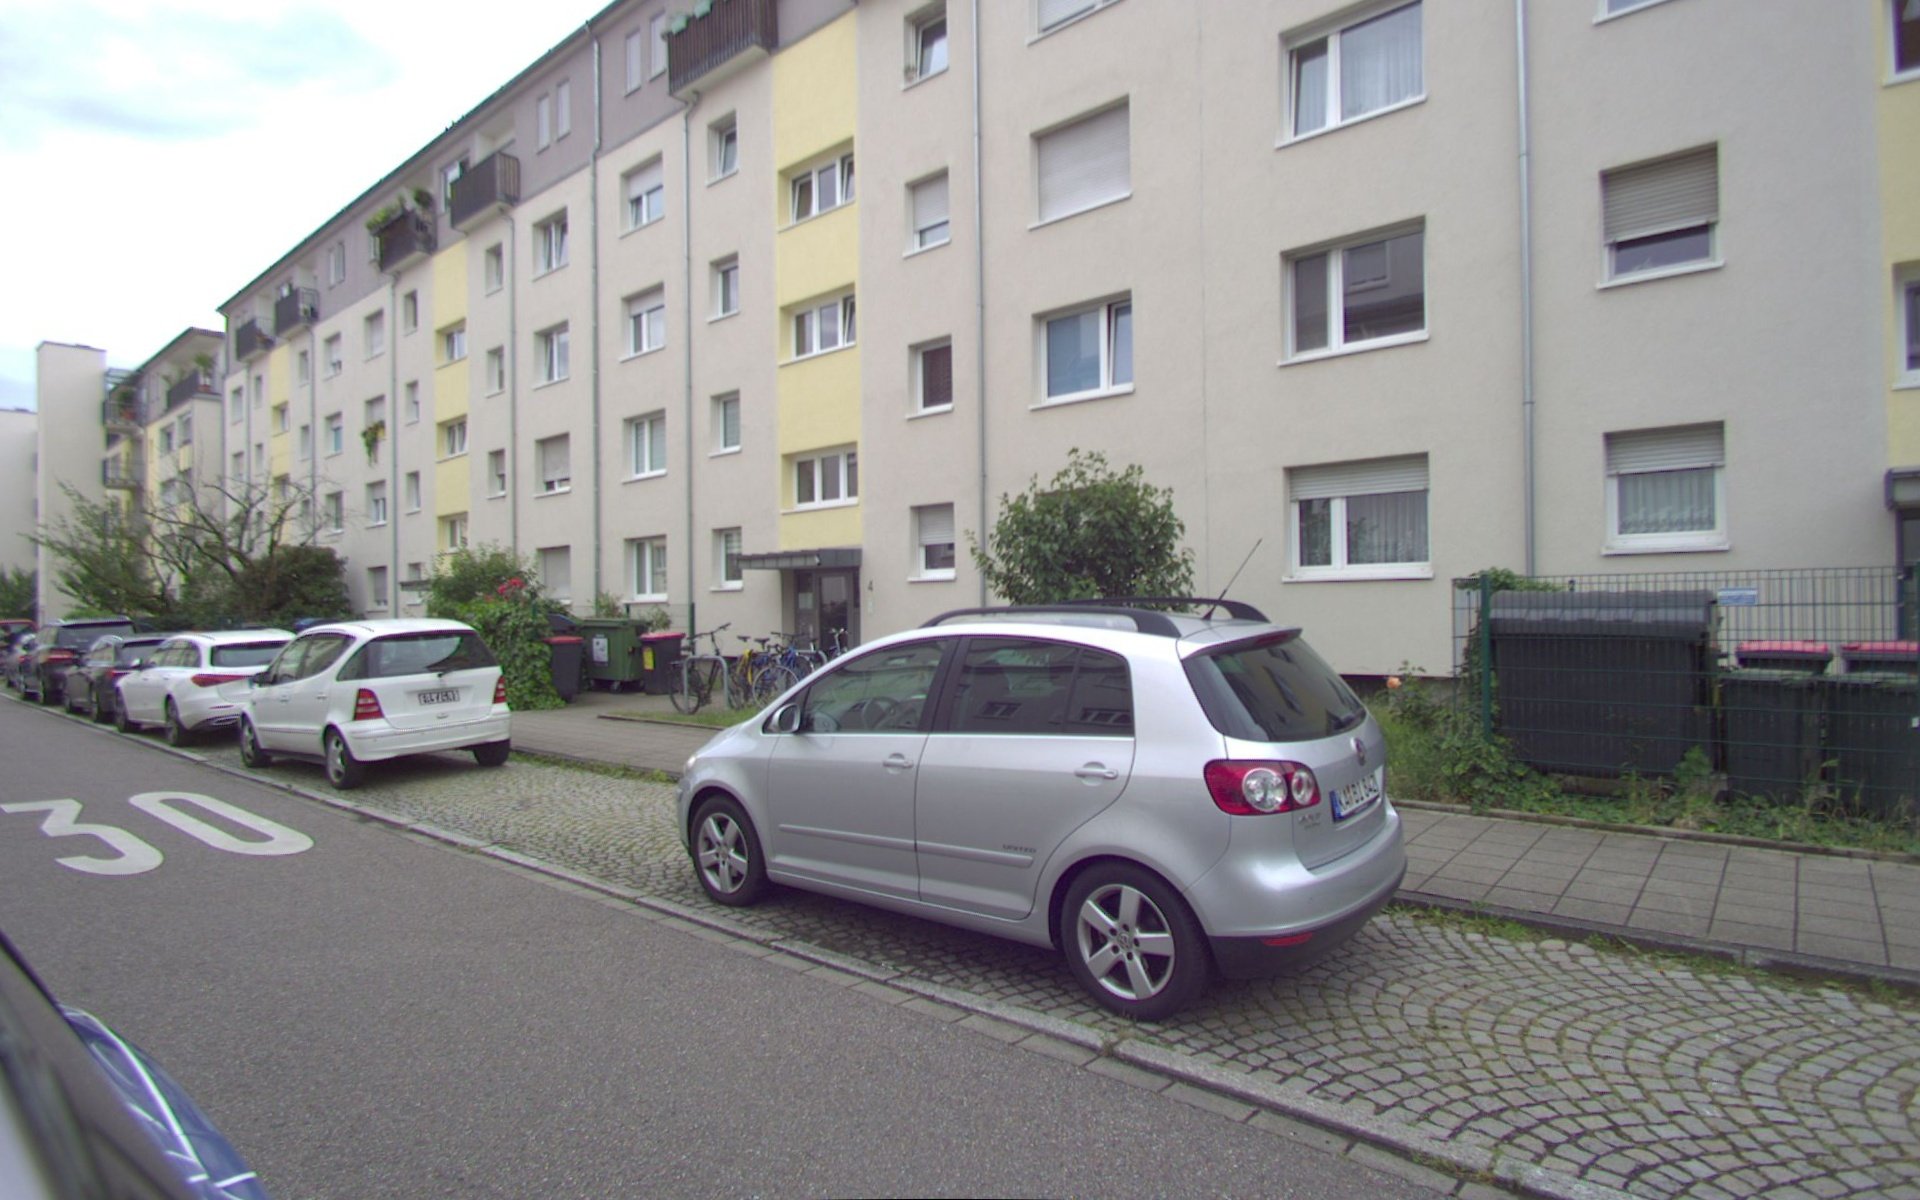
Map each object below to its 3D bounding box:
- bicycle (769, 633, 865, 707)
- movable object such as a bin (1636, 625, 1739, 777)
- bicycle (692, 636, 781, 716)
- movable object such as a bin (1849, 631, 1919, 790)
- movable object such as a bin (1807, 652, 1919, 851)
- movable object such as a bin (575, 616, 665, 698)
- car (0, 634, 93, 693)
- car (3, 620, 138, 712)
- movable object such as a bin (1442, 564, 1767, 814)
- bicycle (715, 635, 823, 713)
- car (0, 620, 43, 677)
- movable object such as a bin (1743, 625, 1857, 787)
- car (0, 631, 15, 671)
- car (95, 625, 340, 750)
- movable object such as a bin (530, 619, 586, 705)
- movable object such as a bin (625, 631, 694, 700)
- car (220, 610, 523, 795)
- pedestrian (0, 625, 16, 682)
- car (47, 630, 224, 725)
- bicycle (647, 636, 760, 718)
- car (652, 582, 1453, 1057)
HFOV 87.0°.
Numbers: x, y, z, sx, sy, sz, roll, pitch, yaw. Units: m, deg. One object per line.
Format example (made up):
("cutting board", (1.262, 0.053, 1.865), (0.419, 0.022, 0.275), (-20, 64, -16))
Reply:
("bicycle", (-2.118, 1.006, 14.860), (1.557, 1.032, 0.416), (-2, -2, 38))
("movable object such as a bin", (5.822, 0.771, 8.088), (0.597, 1.125, 0.834), (-2, -2, 38))
("bicycle", (-3.084, 1.023, 13.890), (1.496, 1.032, 0.352), (-2, -2, 40))
("movable object such as a bin", (6.800, 0.760, 7.203), (0.633, 1.059, 0.855), (-2, -2, 39))
("movable object such as a bin", (5.184, 0.824, 5.696), (0.597, 1.041, 0.531), (-2, -2, 39))
("movable object such as a bin", (-6.136, 0.995, 18.263), (1.187, 1.385, 1.047), (0, 0, 36))
("car", (-24.265, 1.653, 26.653), (3.537, 1.407, 1.556), (-3, -2, 38))
("car", (-19.341, 1.384, 21.944), (4.448, 1.793, 1.555), (-3, -2, 40))
("movable object such as a bin", (4.444, 0.534, 6.965), (1.670, 1.432, 1.573), (-2, -2, 40))
("bicycle", (-2.703, 1.015, 14.209), (1.753, 1.032, 0.473), (-2, -2, 40))
("car", (-32.081, 1.619, 33.756), (3.537, 1.820, 1.686), (-3, -2, 38))
("movable object such as a bin", (6.336, 0.766, 7.669), (0.597, 1.125, 0.834), (-2, -2, 38))
("car", (-36.763, 1.941, 37.786), (3.537, 1.455, 1.686), (-3, -2, 38))
("car", (-10.840, 1.176, 14.646), (4.681, 1.521, 1.701), (-3, -2, 38))
("movable object such as a bin", (-6.678, 1.007, 16.831), (0.587, 1.378, 0.651), (0, 0, 37))
("movable object such as a bin", (-5.241, 1.119, 17.664), (0.786, 1.117, 0.861), (0, 0, 37))
("car", (-6.457, 0.981, 10.955), (3.724, 1.651, 1.668), (-2, -2, 40))
("pedestrian", (-28.661, 1.604, 30.223), (0.621, 1.679, 0.596), (-2, -2, 38))
("car", (-14.757, 1.291, 18.033), (4.480, 1.464, 1.707), (-2, -1, 41))
("bicycle", (-3.469, 1.007, 13.597), (1.877, 1.032, 0.483), (-2, -2, 41))
("car", (0.207, 0.772, 5.261), (3.914, 1.562, 1.637), (-2, -1, 41))
